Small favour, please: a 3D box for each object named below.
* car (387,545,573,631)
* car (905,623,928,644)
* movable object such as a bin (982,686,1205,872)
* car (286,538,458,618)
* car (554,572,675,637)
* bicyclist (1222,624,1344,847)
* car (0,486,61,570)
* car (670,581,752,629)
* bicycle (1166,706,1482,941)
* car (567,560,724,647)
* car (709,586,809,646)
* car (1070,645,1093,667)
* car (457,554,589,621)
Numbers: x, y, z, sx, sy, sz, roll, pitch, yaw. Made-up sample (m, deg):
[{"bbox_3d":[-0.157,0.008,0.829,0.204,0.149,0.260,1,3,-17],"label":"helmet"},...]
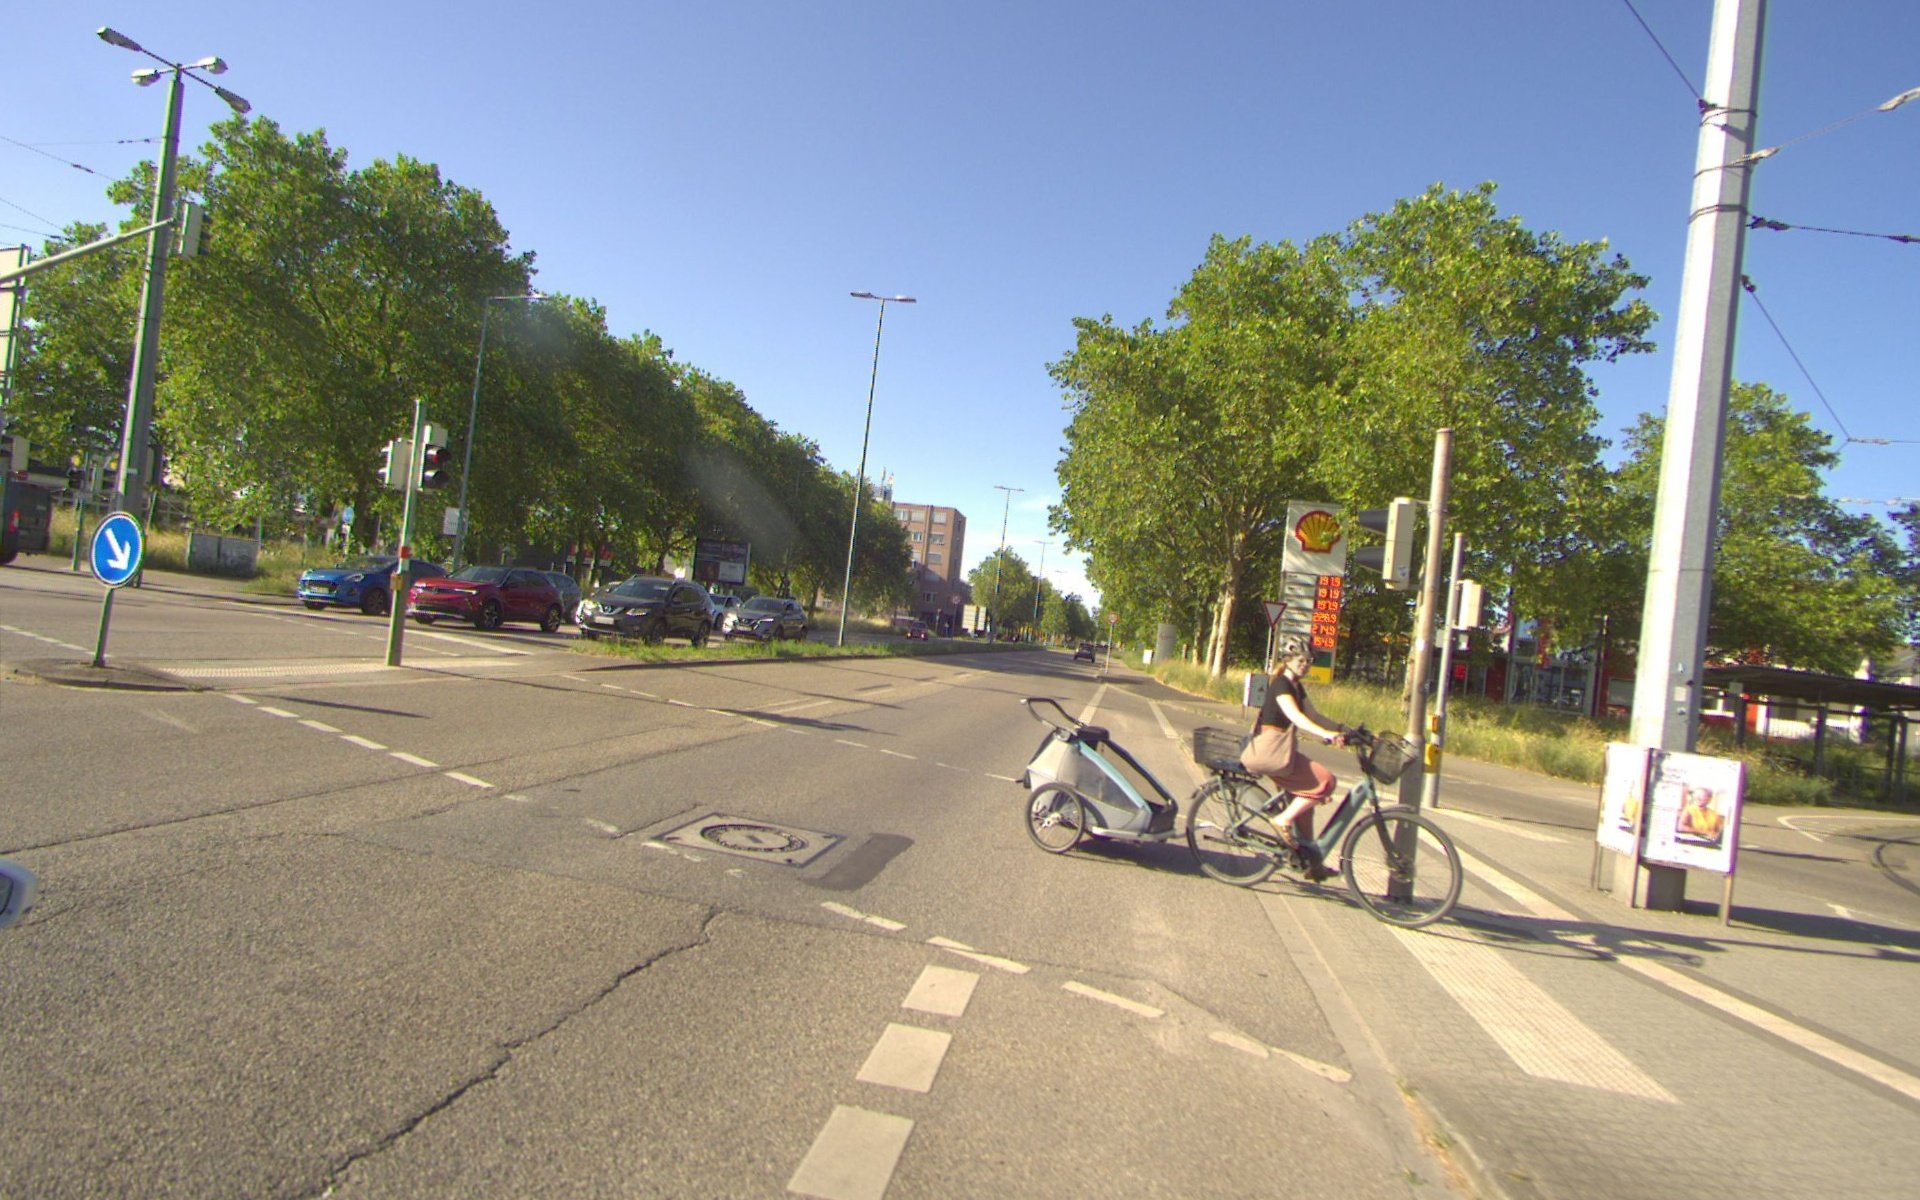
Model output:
[{"bbox_3d":[-11.081,-0.200,23.591,1.781,1.619,4.094,6,-1,10],"label":"car"},{"bbox_3d":[-3.635,2.824,84.228,1.346,1.635,3.212,4,-1,6],"label":"car"},{"bbox_3d":[1.000,1.264,7.455,1.294,1.081,0.910,6,-1,29],"label":"movable object such as a bin"},{"bbox_3d":[-14.746,-0.477,25.500,1.680,1.619,3.863,6,-1,6],"label":"car"},{"bbox_3d":[-10.420,0.201,30.661,1.680,1.619,3.864,7,-2,10],"label":"car"},{"bbox_3d":[2.157,0.880,6.707,0.555,1.357,0.510,6,0,28],"label":"bicyclist"},{"bbox_3d":[-27.033,-2.155,26.021,5.058,2.095,2.118,8,-1,-26],"label":"car"},{"bbox_3d":[-11.216,0.292,45.712,1.872,1.701,4.783,6,-3,7],"label":"car"},{"bbox_3d":[2.343,1.385,6.572,1.789,1.132,0.467,6,0,29],"label":"bicycle"},{"bbox_3d":[-7.544,0.159,24.650,1.884,1.731,4.498,6,-1,6],"label":"car"},{"bbox_3d":[-6.578,0.573,33.430,1.962,1.637,4.004,7,-1,7],"label":"car"},{"bbox_3d":[10.767,4.943,89.305,1.792,1.724,3.778,7,-2,8],"label":"car"},{"bbox_3d":[-13.759,-0.333,31.961,1.898,1.698,4.179,7,-1,6],"label":"car"}]
